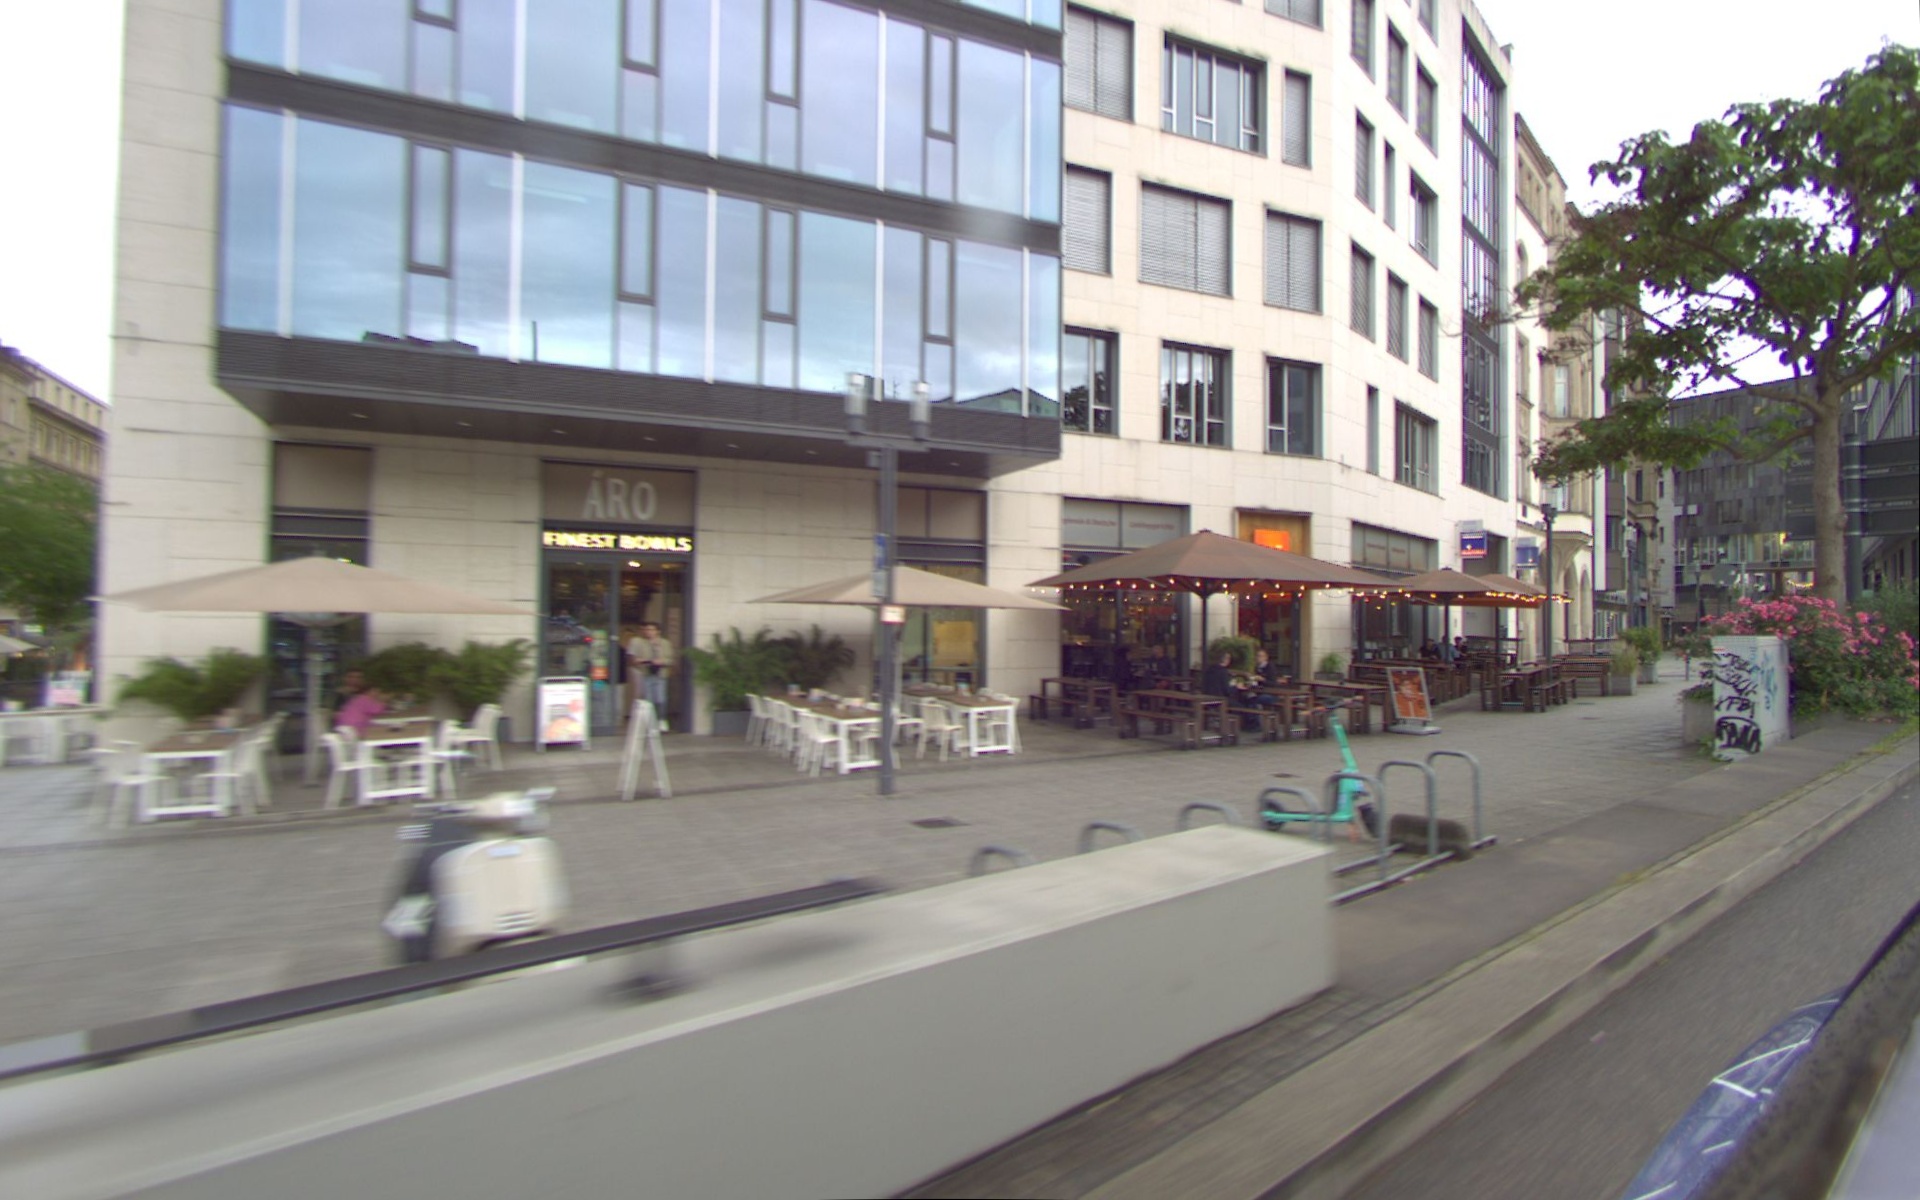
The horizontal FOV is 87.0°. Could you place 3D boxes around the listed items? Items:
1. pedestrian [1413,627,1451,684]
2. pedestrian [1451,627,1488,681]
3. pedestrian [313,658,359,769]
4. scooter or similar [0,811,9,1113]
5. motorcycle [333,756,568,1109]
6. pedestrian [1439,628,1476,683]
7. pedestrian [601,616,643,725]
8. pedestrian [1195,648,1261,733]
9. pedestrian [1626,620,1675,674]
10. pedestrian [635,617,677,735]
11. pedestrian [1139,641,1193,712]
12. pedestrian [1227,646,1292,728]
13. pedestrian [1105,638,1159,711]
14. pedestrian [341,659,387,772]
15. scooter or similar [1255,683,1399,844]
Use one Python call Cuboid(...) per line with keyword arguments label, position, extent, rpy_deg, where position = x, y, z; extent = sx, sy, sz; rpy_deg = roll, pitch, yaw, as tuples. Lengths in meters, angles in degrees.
Cuboid(label="pedestrian", position=(11.515, 1.350, 24.690), extent=(0.626, 1.344, 0.626), rpy_deg=(-5, -4, 43))
Cuboid(label="pedestrian", position=(13.081, 1.380, 25.974), extent=(0.626, 1.344, 0.626), rpy_deg=(-5, -4, 43))
Cuboid(label="pedestrian", position=(-8.394, 1.512, 13.623), extent=(0.468, 1.421, 0.437), rpy_deg=(0, -1, -25))
Cuboid(label="scooter or similar", position=(-3.668, 1.419, 3.468), extent=(0.522, 1.173, 1.114), rpy_deg=(1, -3, -41))
Cuboid(label="motorcycle", position=(-2.514, 1.451, 4.888), extent=(0.597, 1.173, 1.779), rpy_deg=(1, -2, -41))
Cuboid(label="pedestrian", position=(12.471, 1.388, 25.378), extent=(0.626, 1.344, 0.626), rpy_deg=(-5, -4, 43))
Cuboid(label="pedestrian", position=(-6.140, 1.254, 18.384), extent=(0.575, 1.918, 0.642), rpy_deg=(0, -1, -34))
Cuboid(label="pedestrian", position=(4.473, 1.494, 16.904), extent=(0.623, 1.344, 0.820), rpy_deg=(0, -3, -27))
Cuboid(label="pedestrian", position=(17.668, 1.194, 25.898), extent=(0.623, 1.344, 0.777), rpy_deg=(0, -3, -27))
Cuboid(label="pedestrian", position=(-5.087, 1.246, 16.912), extent=(0.574, 1.918, 0.643), rpy_deg=(0, -1, -24))
Cuboid(label="pedestrian", position=(4.058, 1.494, 19.966), extent=(0.623, 1.344, 0.820), rpy_deg=(0, -3, -27))
Cuboid(label="pedestrian", position=(5.151, 1.486, 17.441), extent=(0.623, 1.344, 0.820), rpy_deg=(0, -3, -27))
Cuboid(label="pedestrian", position=(3.313, 1.424, 19.528), extent=(0.623, 1.344, 0.820), rpy_deg=(0, -3, -27))
Cuboid(label="pedestrian", position=(-7.862, 1.507, 13.363), extent=(0.468, 1.421, 0.437), rpy_deg=(0, -1, -25))
Cuboid(label="scooter or similar", position=(3.241, 1.405, 8.977), extent=(1.088, 1.288, 0.474), rpy_deg=(-2, -3, 39))
